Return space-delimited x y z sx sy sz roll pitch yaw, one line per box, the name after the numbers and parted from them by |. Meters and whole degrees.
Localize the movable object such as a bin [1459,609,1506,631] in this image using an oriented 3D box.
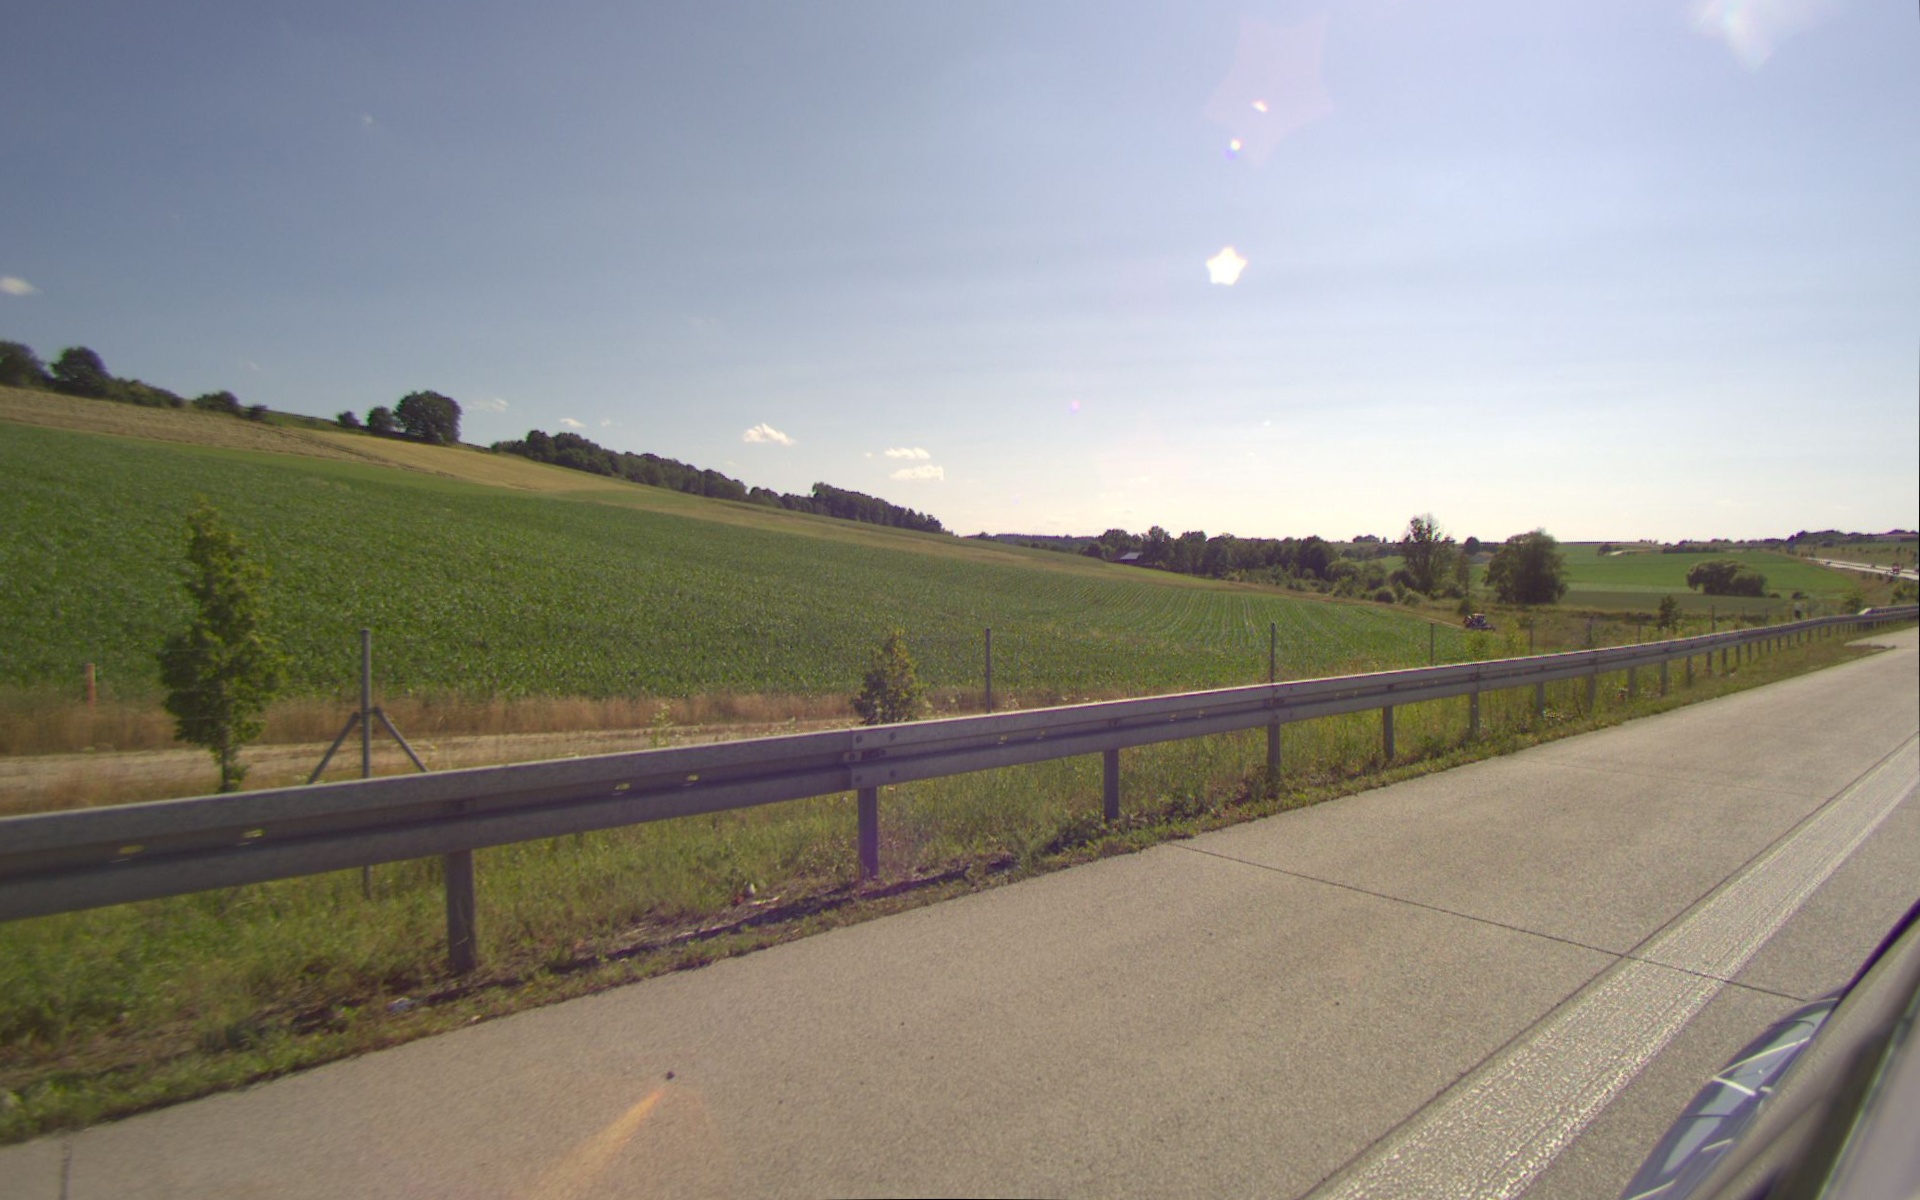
75.390 2.871 146.256 3.222 2.805 6.238 -2 2 -4 | movable object such as a bin
